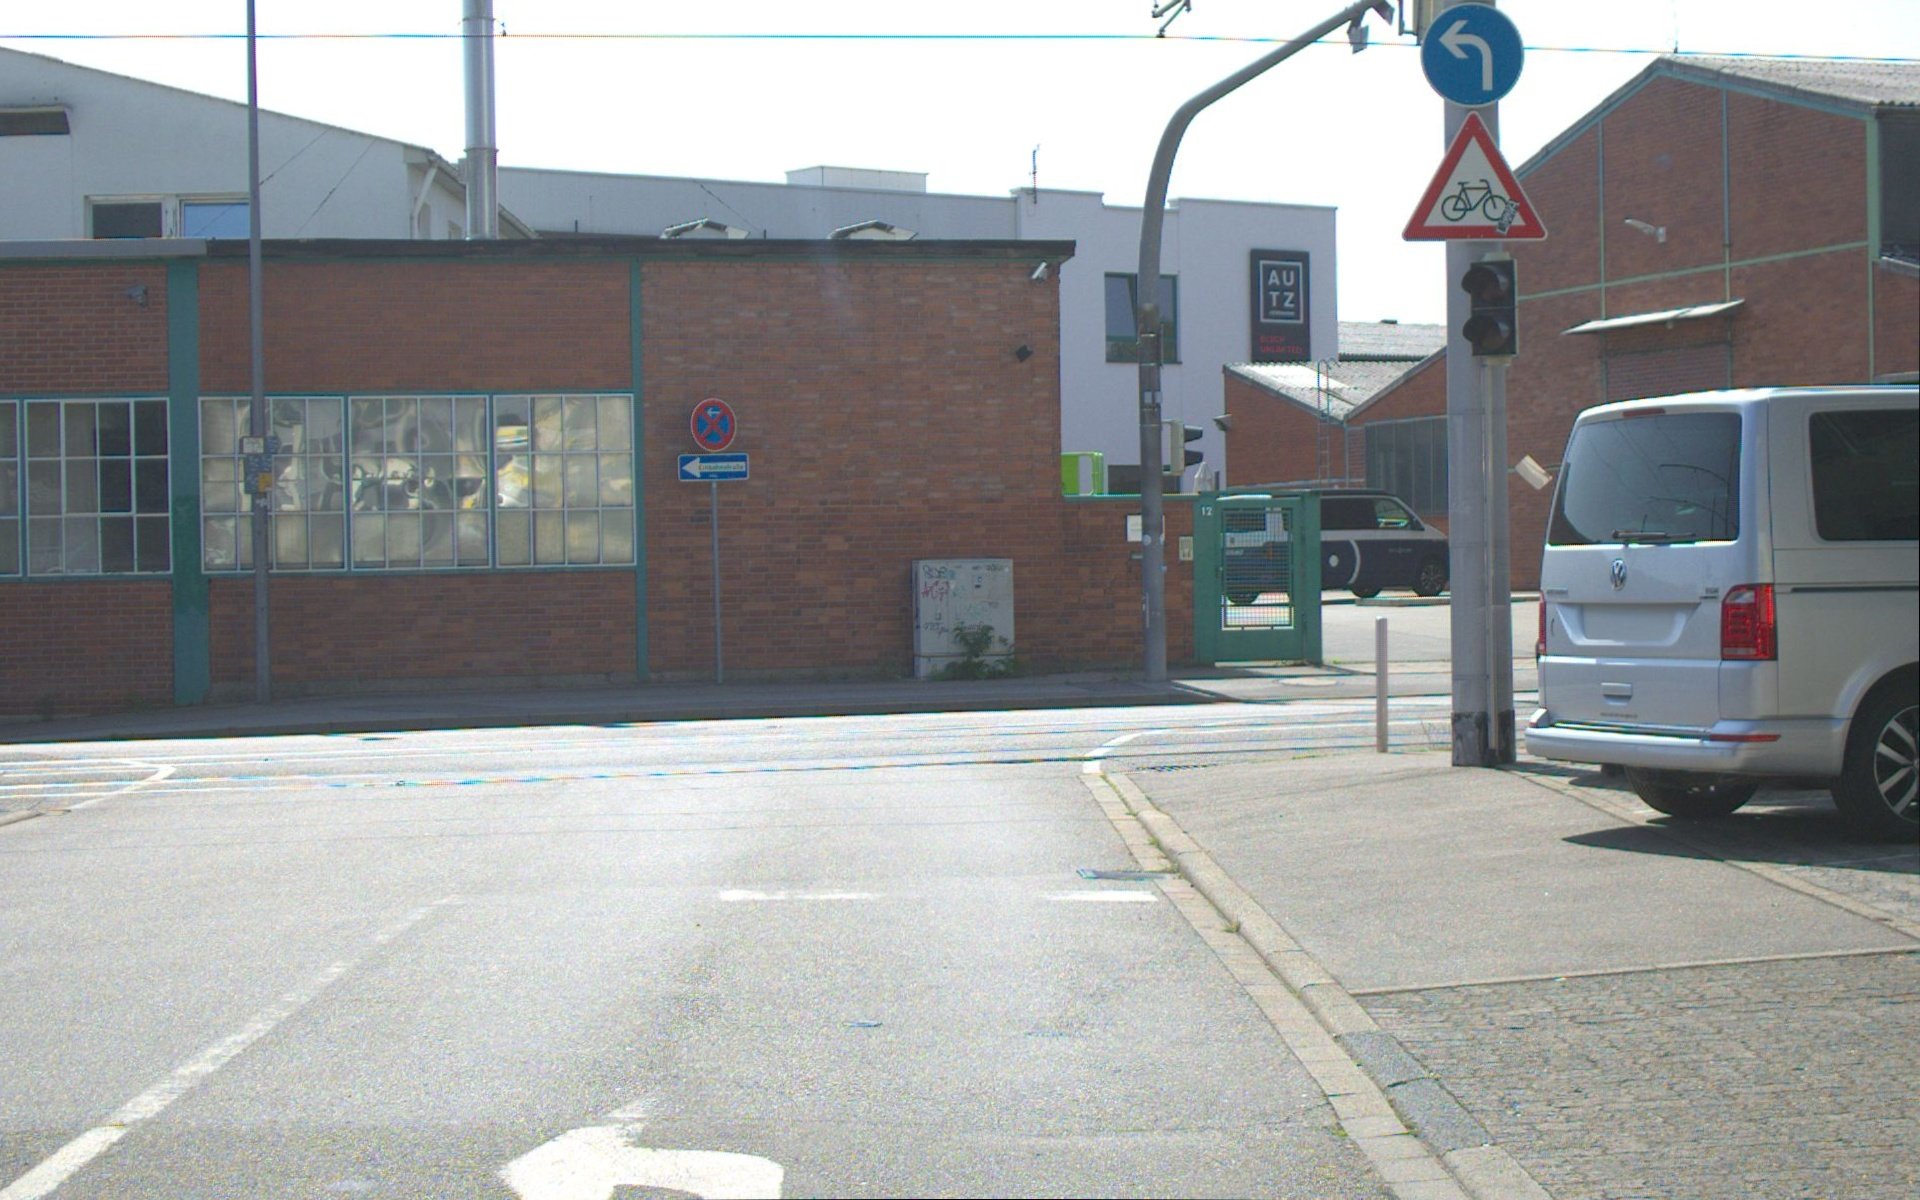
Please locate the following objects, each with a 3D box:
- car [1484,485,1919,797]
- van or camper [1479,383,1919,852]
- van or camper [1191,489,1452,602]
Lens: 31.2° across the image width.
[{"bbox_3d":[5.027,0.157,18.514,3.960,1.516,1.880,-1,1,-26],"label":"car"},{"bbox_3d":[4.870,0.008,15.658,4.540,1.901,2.001,-1,1,-21],"label":"van or camper"},{"bbox_3d":[6.443,-0.950,61.103,4.408,1.894,2.000,1,0,-37],"label":"van or camper"}]
